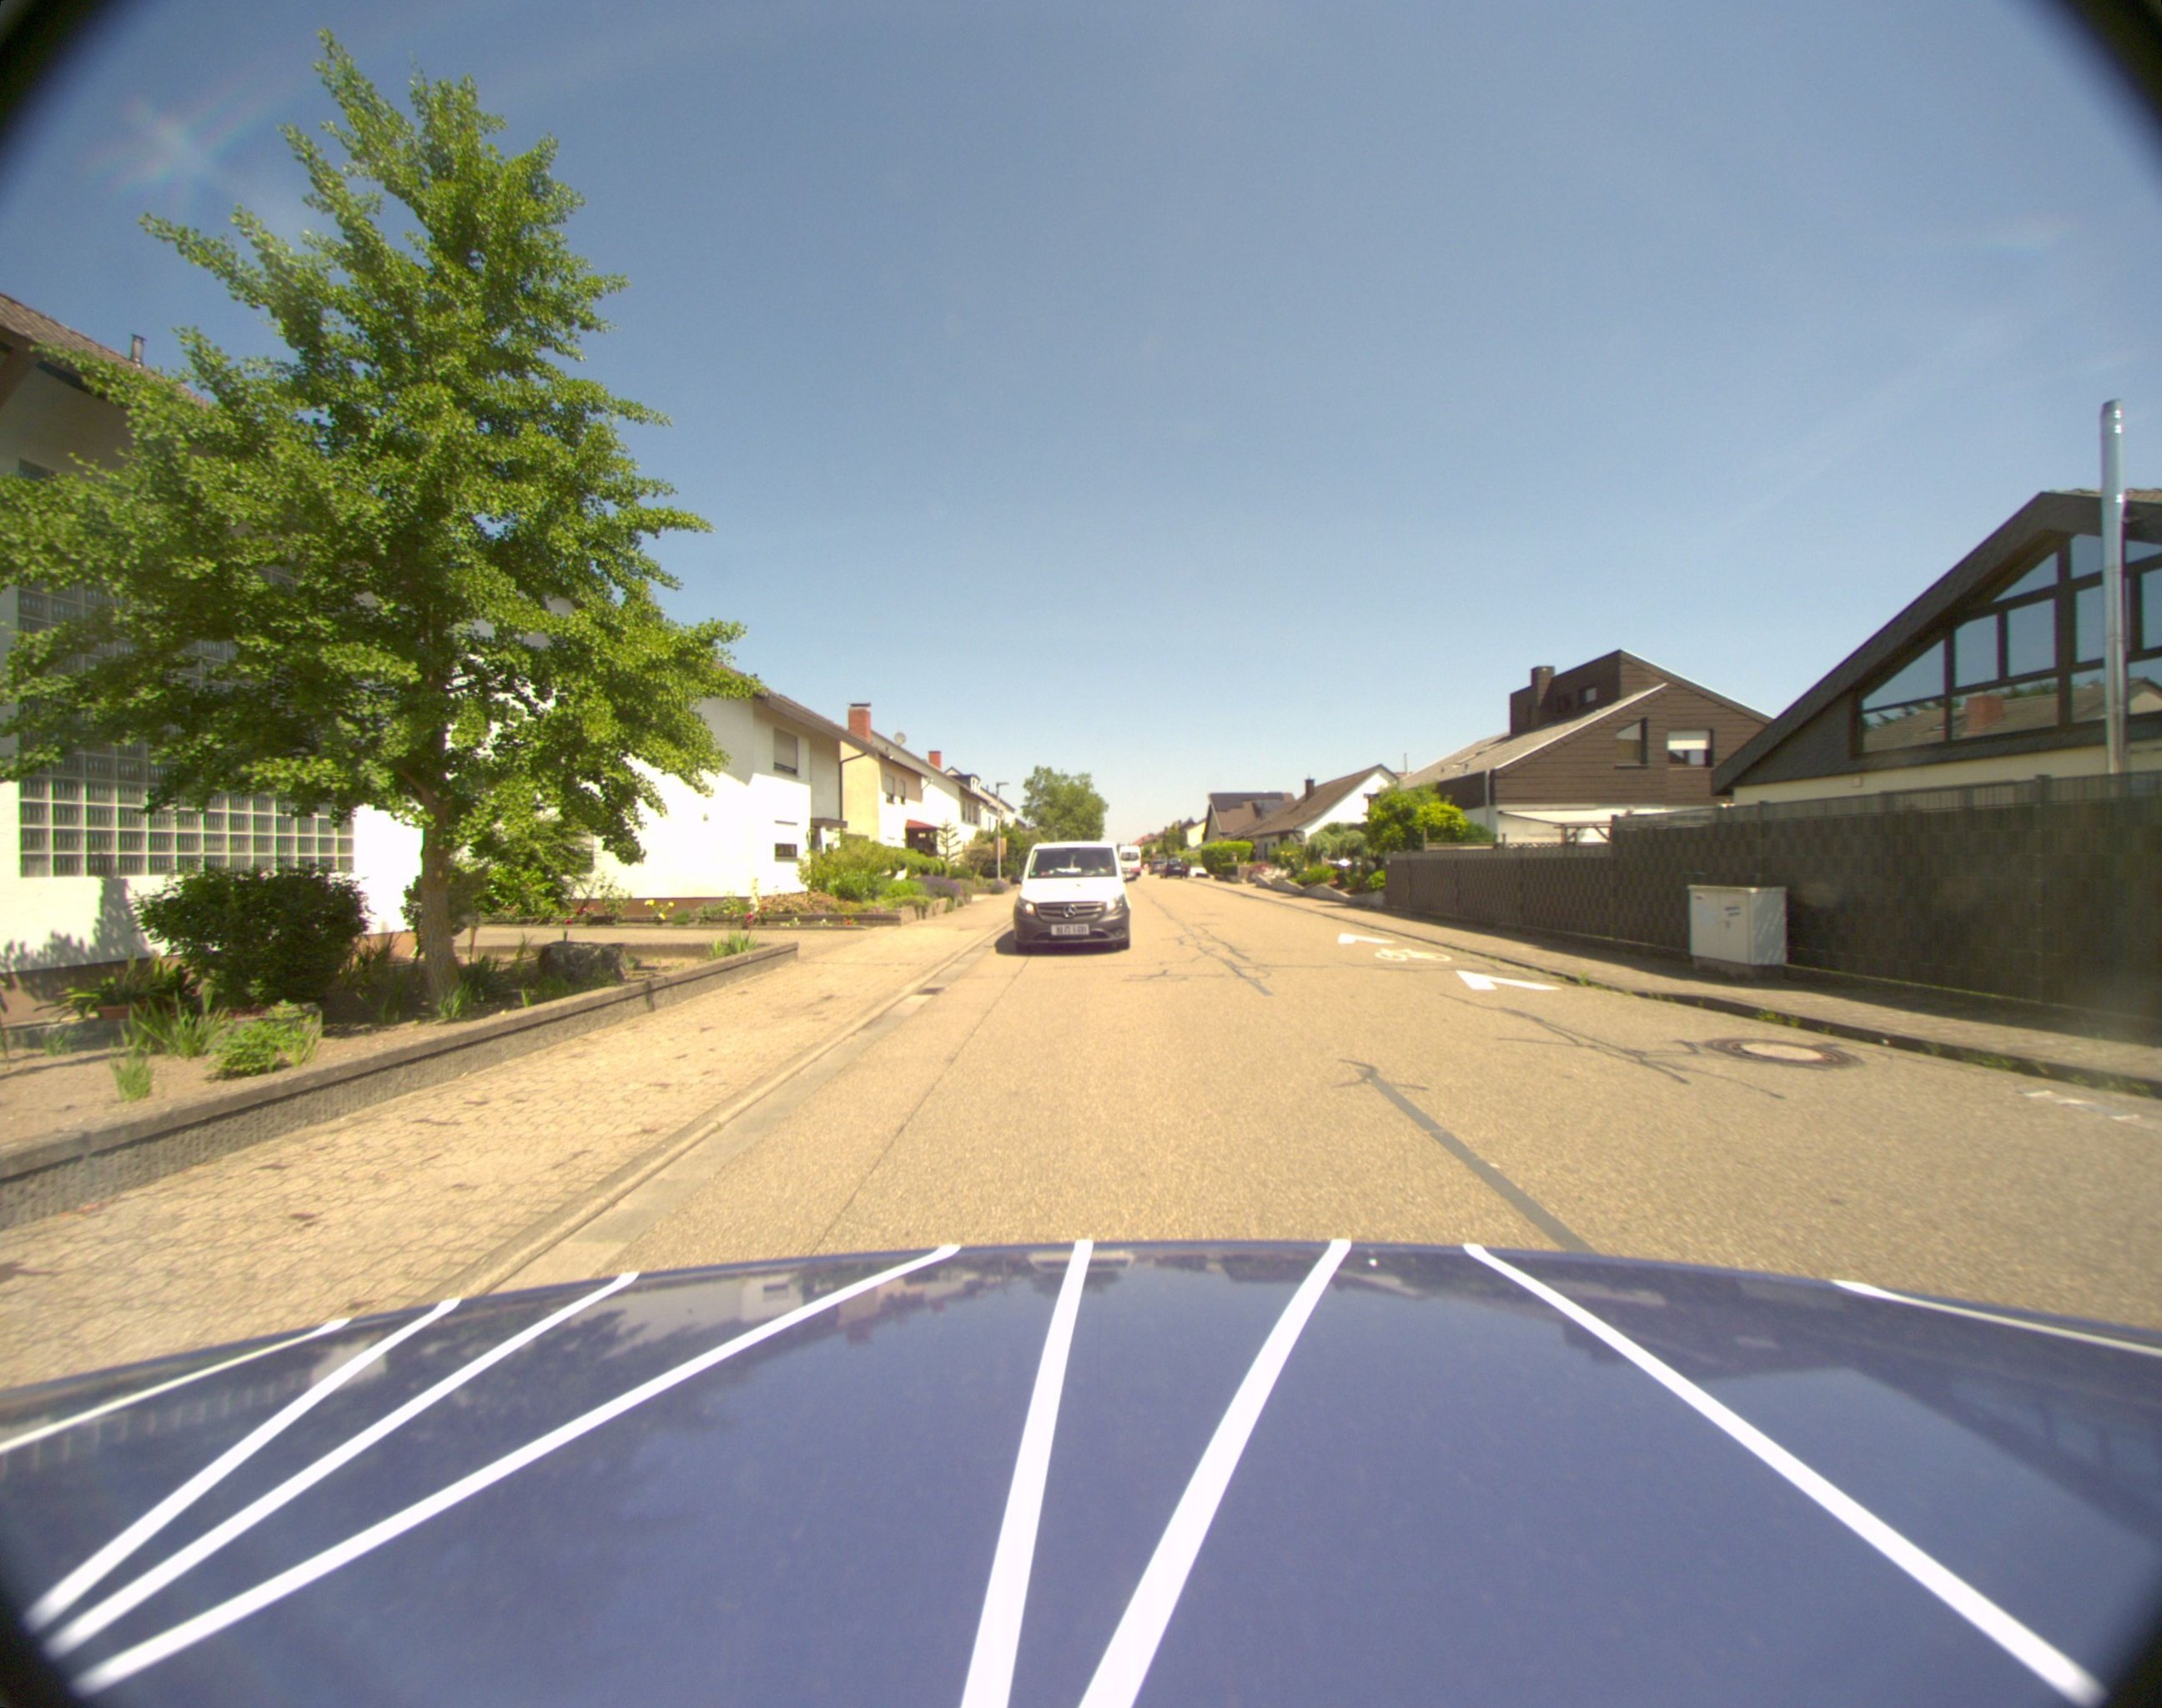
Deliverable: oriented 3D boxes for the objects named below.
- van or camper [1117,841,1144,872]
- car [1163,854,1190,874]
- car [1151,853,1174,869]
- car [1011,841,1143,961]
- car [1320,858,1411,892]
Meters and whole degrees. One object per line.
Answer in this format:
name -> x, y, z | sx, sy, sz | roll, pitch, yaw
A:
van or camper -> 4.288, 0.189, 66.750 | 2.069, 2.576, 4.603 | -1, 0, 1
car -> 7.134, 0.726, 57.227 | 1.807, 1.390, 4.001 | -1, 0, 4
car -> 7.843, 0.675, 73.407 | 1.998, 1.390, 4.001 | -1, 0, 4
car -> -0.019, 0.705, 14.295 | 2.018, 1.846, 5.068 | -1, 1, 1
car -> 14.672, 1.064, 39.307 | 3.997, 1.674, 1.902 | -1, 0, 0
